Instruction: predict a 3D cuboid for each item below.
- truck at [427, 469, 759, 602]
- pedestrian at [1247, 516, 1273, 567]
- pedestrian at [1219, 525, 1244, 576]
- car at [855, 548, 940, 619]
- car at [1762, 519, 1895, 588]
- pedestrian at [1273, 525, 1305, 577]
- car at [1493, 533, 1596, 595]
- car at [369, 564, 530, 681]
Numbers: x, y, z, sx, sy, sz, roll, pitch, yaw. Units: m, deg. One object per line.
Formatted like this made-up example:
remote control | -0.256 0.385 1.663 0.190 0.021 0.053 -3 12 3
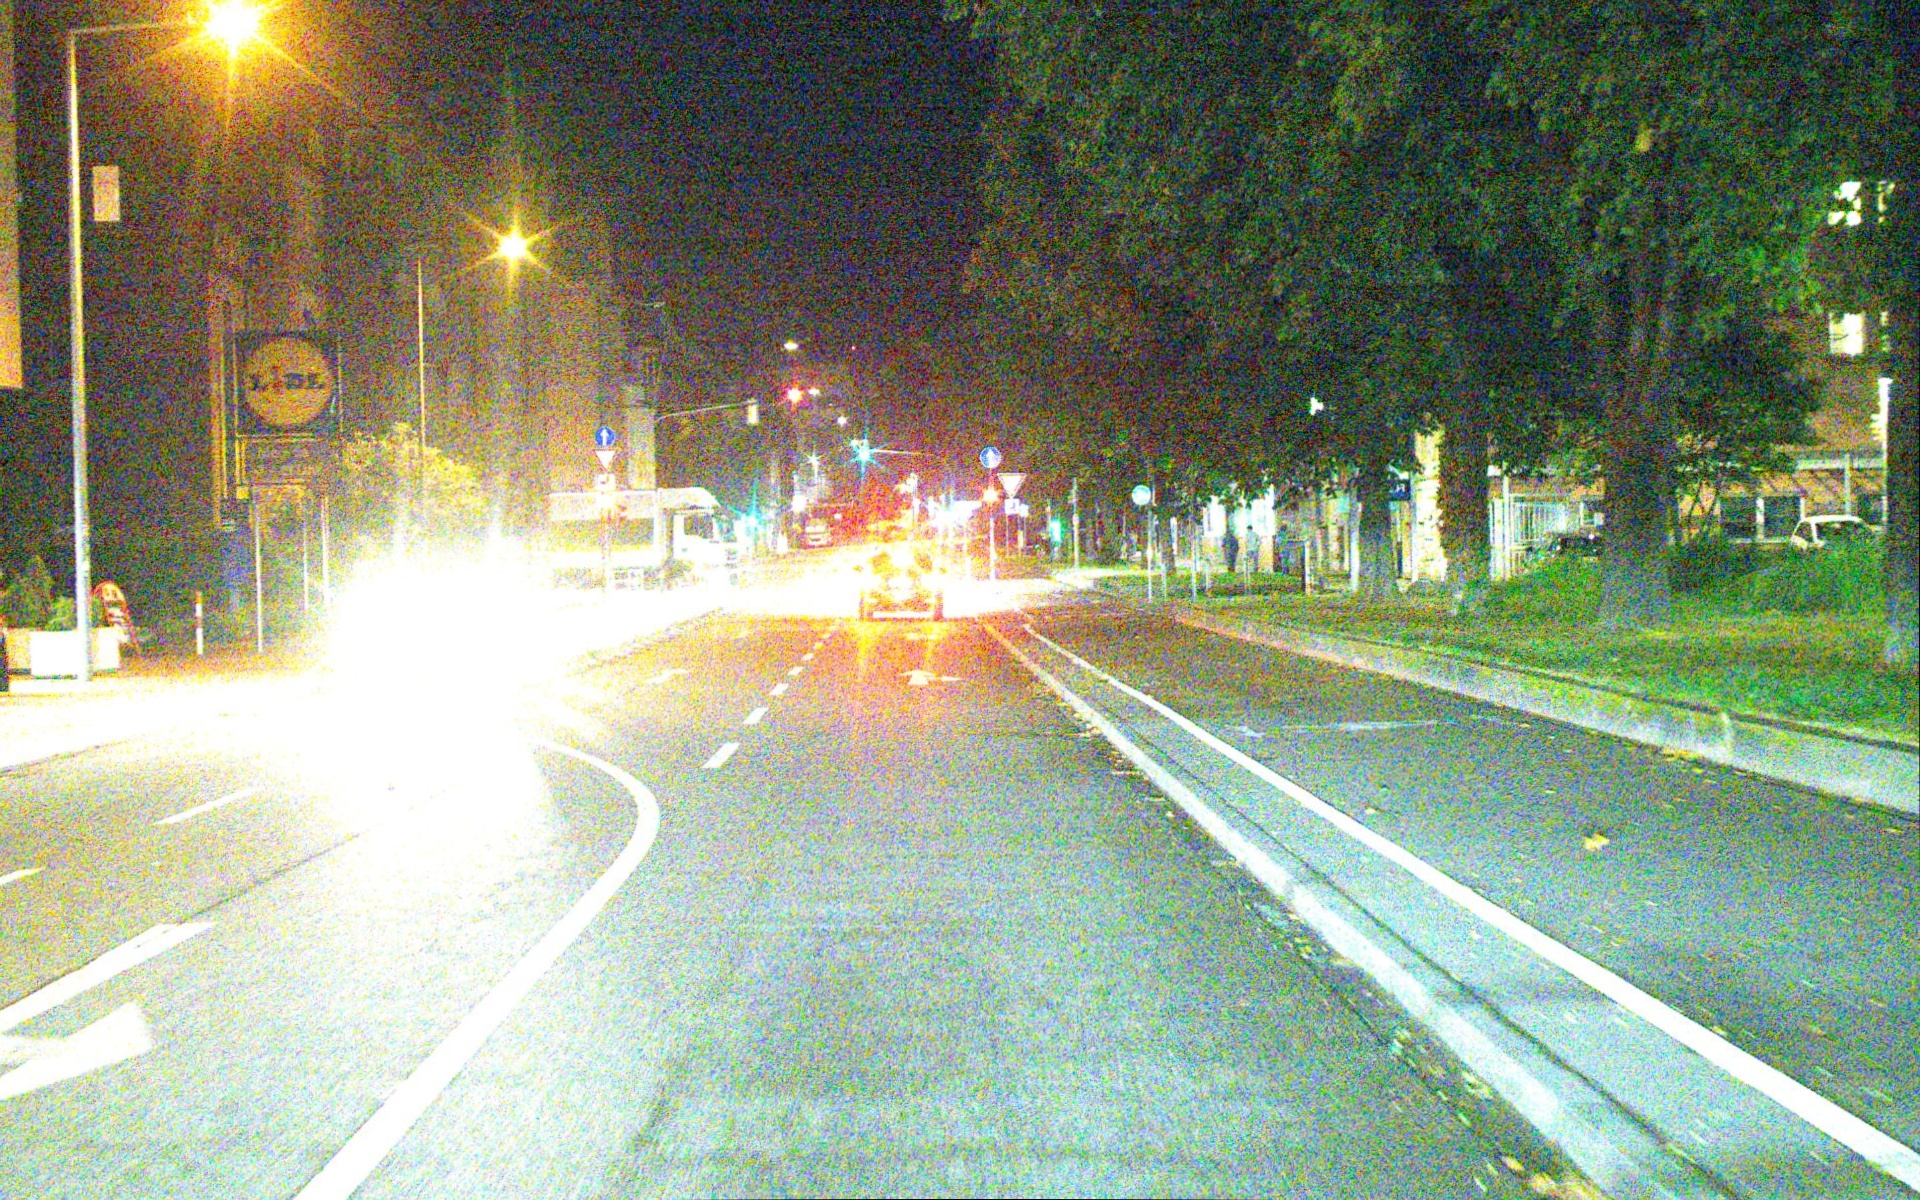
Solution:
truck | -11.777 -2.068 110.512 10.082 3.705 2.763 -3 1 8
pedestrian | 10.435 -2.032 119.596 0.738 1.763 0.907 -2 1 -1
pedestrian | 9.436 -1.721 119.693 0.714 1.763 0.907 -2 1 -1
car | -1.343 -0.386 75.834 1.805 1.489 4.730 0 1 0
car | 20.543 -1.109 81.466 1.781 1.528 4.001 -2 1 -6
pedestrian | 11.470 -1.705 119.826 0.901 1.763 0.907 -2 1 -5
car | 13.716 -0.852 80.873 1.512 1.390 4.482 -2 1 -2
car | -6.934 0.273 47.045 1.667 1.423 4.000 -3 1 -2
